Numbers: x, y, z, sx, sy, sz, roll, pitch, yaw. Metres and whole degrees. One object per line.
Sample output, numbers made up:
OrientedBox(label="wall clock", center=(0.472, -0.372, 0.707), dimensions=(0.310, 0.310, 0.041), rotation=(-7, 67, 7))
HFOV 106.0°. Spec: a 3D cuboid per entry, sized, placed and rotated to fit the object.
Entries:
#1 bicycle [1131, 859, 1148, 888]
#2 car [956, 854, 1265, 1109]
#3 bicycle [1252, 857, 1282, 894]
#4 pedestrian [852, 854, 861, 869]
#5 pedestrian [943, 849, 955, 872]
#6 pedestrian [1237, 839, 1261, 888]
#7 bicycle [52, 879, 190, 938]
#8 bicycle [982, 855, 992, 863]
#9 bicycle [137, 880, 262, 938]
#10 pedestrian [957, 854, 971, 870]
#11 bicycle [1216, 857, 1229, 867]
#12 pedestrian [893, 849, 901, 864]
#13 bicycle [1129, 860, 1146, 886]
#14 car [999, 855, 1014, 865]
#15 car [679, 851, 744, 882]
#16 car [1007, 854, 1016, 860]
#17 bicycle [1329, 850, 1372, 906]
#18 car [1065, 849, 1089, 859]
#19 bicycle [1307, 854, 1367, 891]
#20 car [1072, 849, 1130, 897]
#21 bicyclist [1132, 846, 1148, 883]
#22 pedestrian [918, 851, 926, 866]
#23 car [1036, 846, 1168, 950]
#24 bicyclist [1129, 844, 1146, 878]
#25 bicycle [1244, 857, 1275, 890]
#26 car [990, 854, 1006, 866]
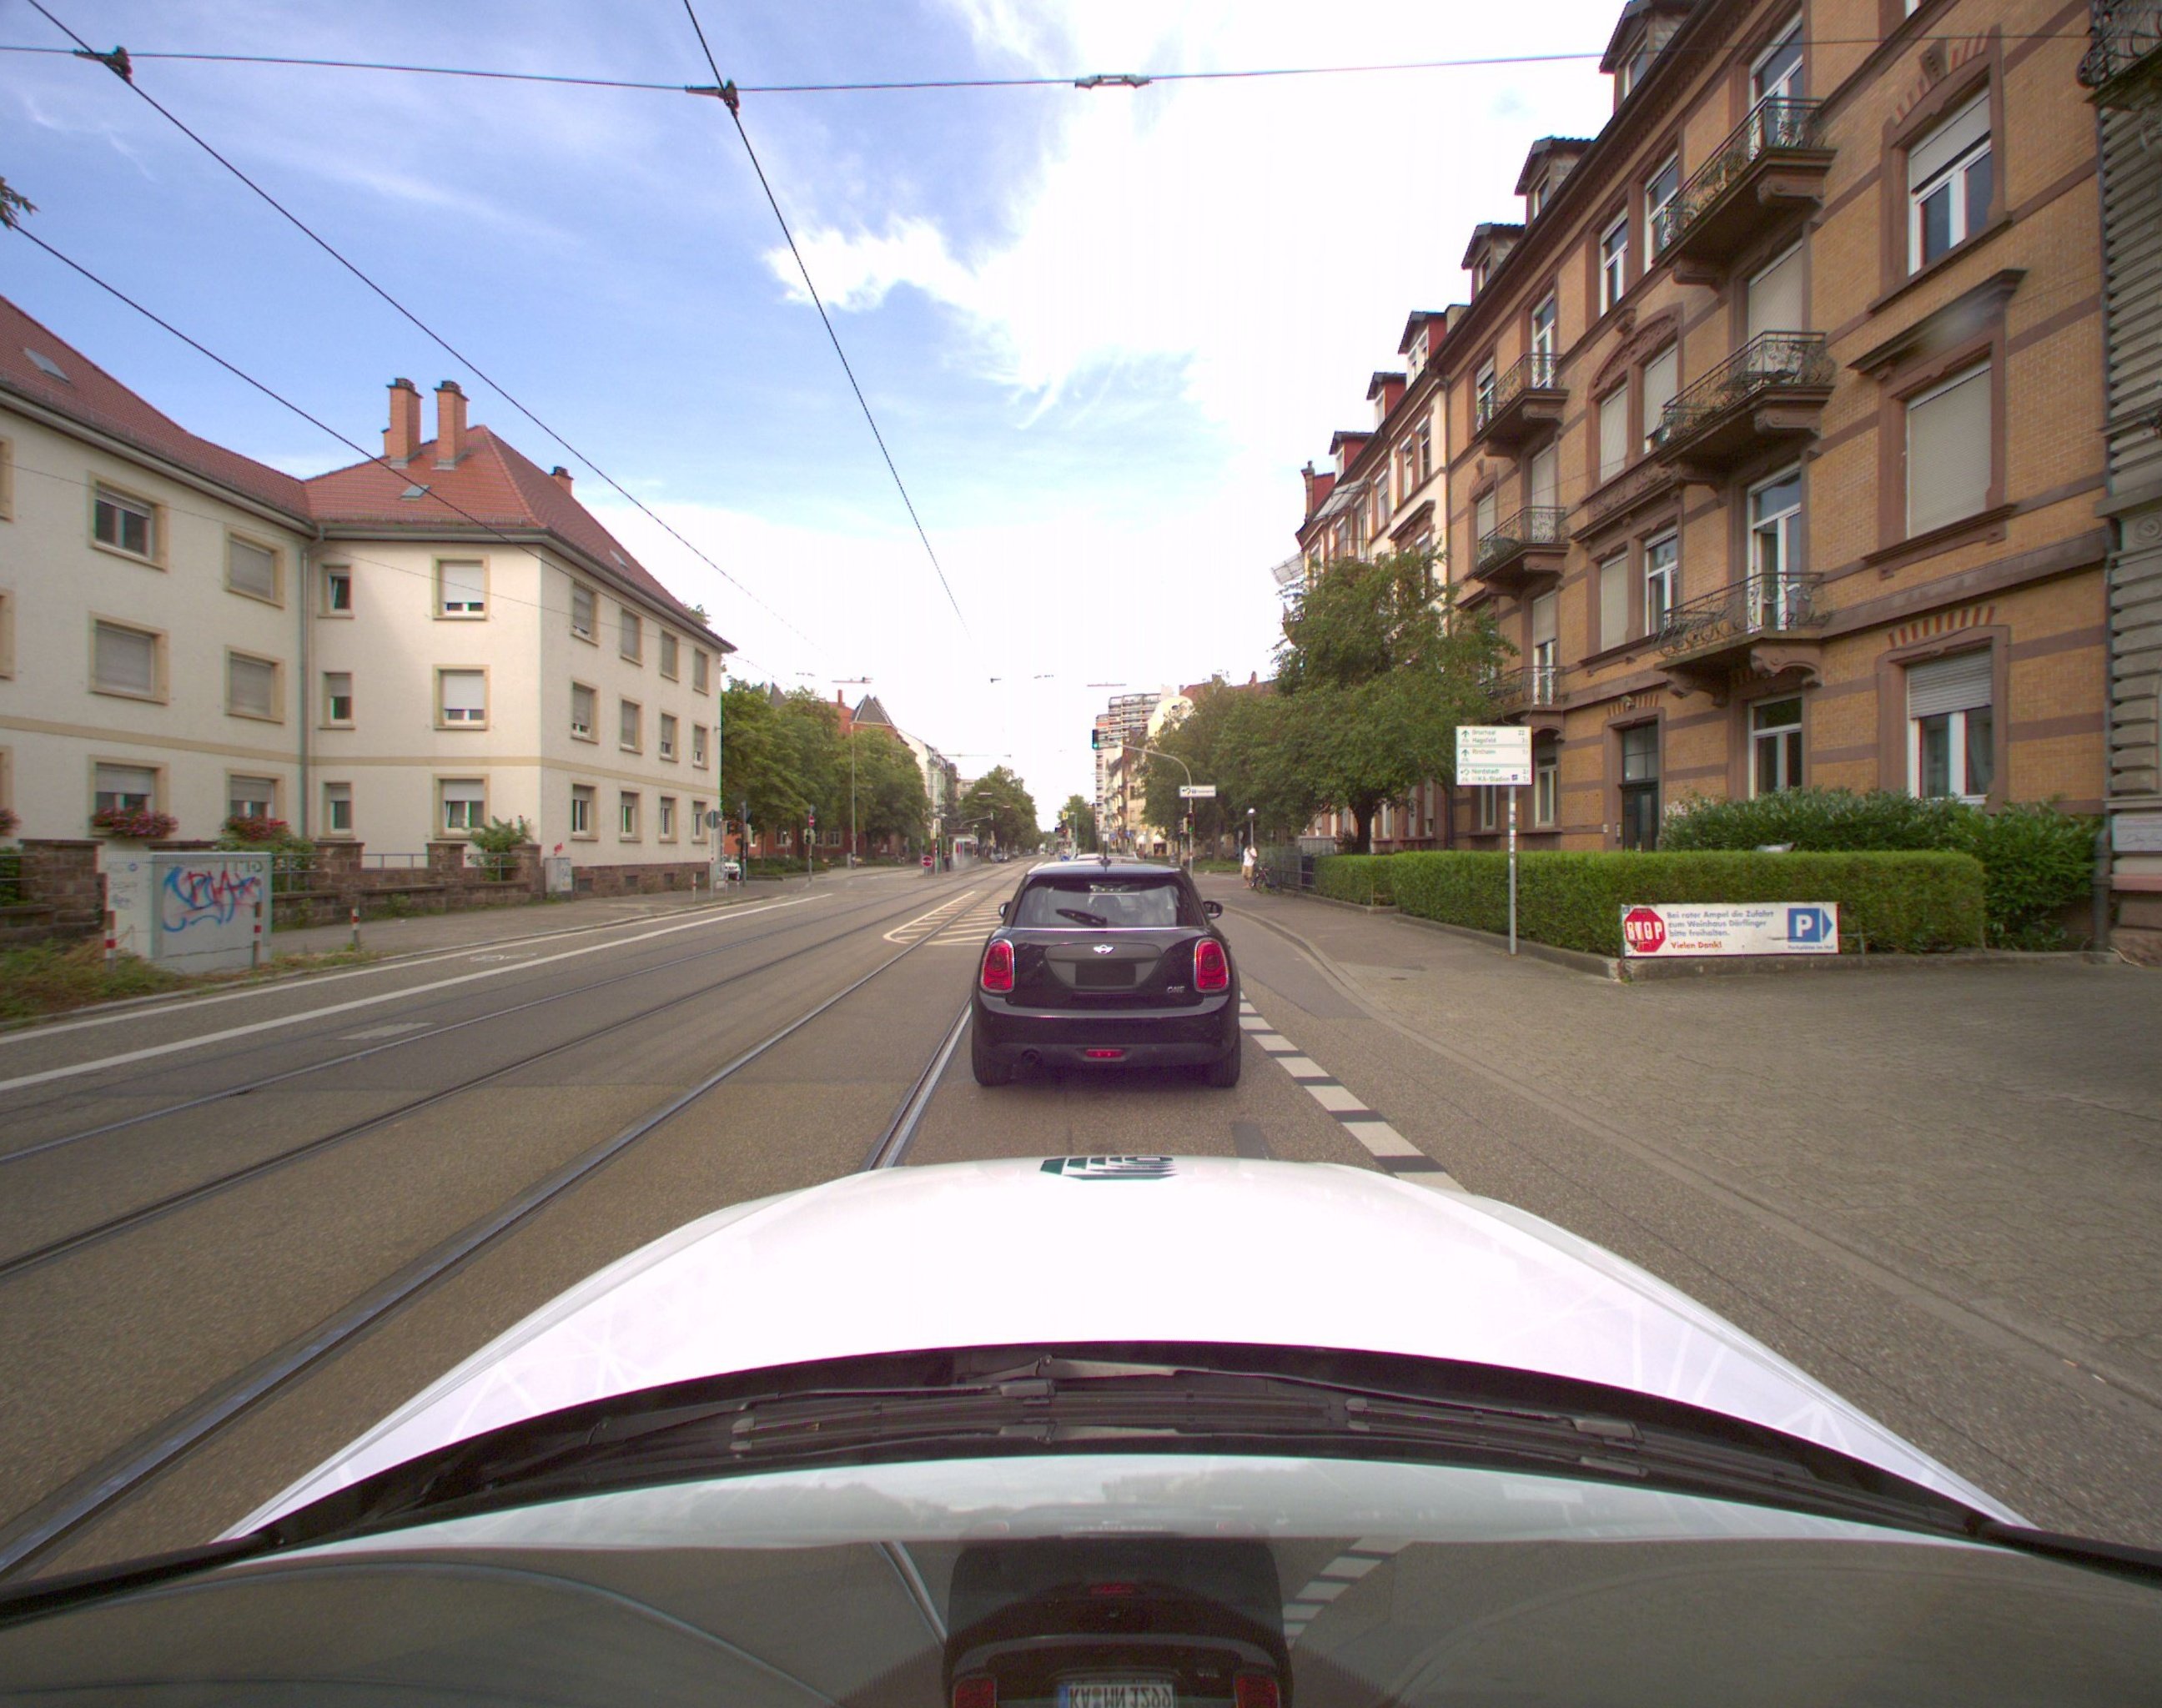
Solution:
OrientedBox(label="bicycle", center=(2.495, 0.818, 34.693), dimensions=(0.596, 1.170, 1.696), rotation=(-1, 0, 0))
OrientedBox(label="car", center=(0.235, 0.722, 6.624), dimensions=(1.745, 1.441, 4.002), rotation=(0, 0, 2))
OrientedBox(label="bicycle", center=(5.866, 0.676, 25.718), dimensions=(0.507, 1.088, 1.549), rotation=(-4, 0, -1))
OrientedBox(label="pedestrian", center=(-25.236, 0.838, 91.649), dimensions=(0.832, 1.703, 0.731), rotation=(0, 0, -7))
OrientedBox(label="pedestrian", center=(-9.671, 0.477, 59.743), dimensions=(0.851, 1.621, 0.841), rotation=(0, 0, -7))
OrientedBox(label="pedestrian", center=(6.202, 0.350, 30.086), dimensions=(0.727, 1.754, 0.950), rotation=(0, 0, 3))
OrientedBox(label="bicycle", center=(-16.873, 0.937, 14.368), dimensions=(0.476, 0.915, 1.671), rotation=(-1, 0, -1))
OrientedBox(label="bicycle", center=(-15.054, 0.807, 130.603), dimensions=(1.681, 1.119, 0.566), rotation=(-1, 0, -41))
OrientedBox(label="bicycle", center=(-15.915, 0.964, 14.760), dimensions=(0.476, 0.915, 1.671), rotation=(-1, 0, -1))
OrientedBox(label="pedestrian", center=(-9.719, 0.640, 67.716), dimensions=(1.057, 1.294, 0.983), rotation=(0, 0, -7))
OrientedBox(label="bicycle", center=(15.557, 0.855, 89.626), dimensions=(0.526, 1.128, 1.905), rotation=(-1, 0, 40))
OrientedBox(label="pedestrian", center=(-21.730, 0.280, 96.174), dimensions=(0.832, 1.703, 0.731), rotation=(0, 0, -7))
OrientedBox(label="bicycle", center=(2.617, 0.856, 37.777), dimensions=(0.681, 1.170, 1.696), rotation=(-1, 0, 0))
OrientedBox(label="car", center=(-10.819, 0.856, 118.497), dimensions=(1.746, 1.441, 3.999), rotation=(1, 0, 0))
OrientedBox(label="car", center=(-22.284, 0.762, 49.082), dimensions=(4.105, 1.721, 1.852), rotation=(-3, -3, 38))
OrientedBox(label="car", center=(-16.985, 0.757, 199.590), dimensions=(1.988, 1.552, 3.998), rotation=(0, 0, -1))
OrientedBox(label="bicycle", center=(6.410, 0.551, 19.412), dimensions=(0.514, 1.282, 1.550), rotation=(-1, 0, 1))
OrientedBox(label="car", center=(-0.886, -0.007, 182.813), dimensions=(5.067, 2.272, 2.368), rotation=(0, 0, -42))
OrientedBox(label="bicycle", center=(7.246, 0.521, 23.091), dimensions=(1.542, 1.008, 0.509), rotation=(-1, 0, -4))
OrientedBox(label="car", center=(0.639, 0.586, 27.111), dimensions=(1.746, 1.441, 4.480), rotation=(0, 0, 1))
OrientedBox(label="bicyclist", center=(2.493, 0.425, 34.689), dimensions=(0.592, 1.550, 1.013), rotation=(-1, 0, 0))
OrientedBox(label="pedestrian", center=(-18.019, 0.519, 92.145), dimensions=(0.692, 1.719, 0.758), rotation=(0, 0, 0))
OrientedBox(label="car", center=(0.379, 0.650, 13.905), dimensions=(1.919, 1.510, 4.002), rotation=(0, 0, 2))
OrientedBox(label="bicyclist", center=(2.613, 0.328, 37.727), dimensions=(0.682, 1.564, 0.998), rotation=(-1, 0, 0))
OrientedBox(label="bicycle", center=(6.218, 0.657, 28.454), dimensions=(0.669, 1.106, 1.671), rotation=(-1, 0, -2))
OrientedBox(label="car", center=(-11.298, 0.810, 110.861), dimensions=(1.746, 1.441, 3.999), rotation=(1, 0, 0))
